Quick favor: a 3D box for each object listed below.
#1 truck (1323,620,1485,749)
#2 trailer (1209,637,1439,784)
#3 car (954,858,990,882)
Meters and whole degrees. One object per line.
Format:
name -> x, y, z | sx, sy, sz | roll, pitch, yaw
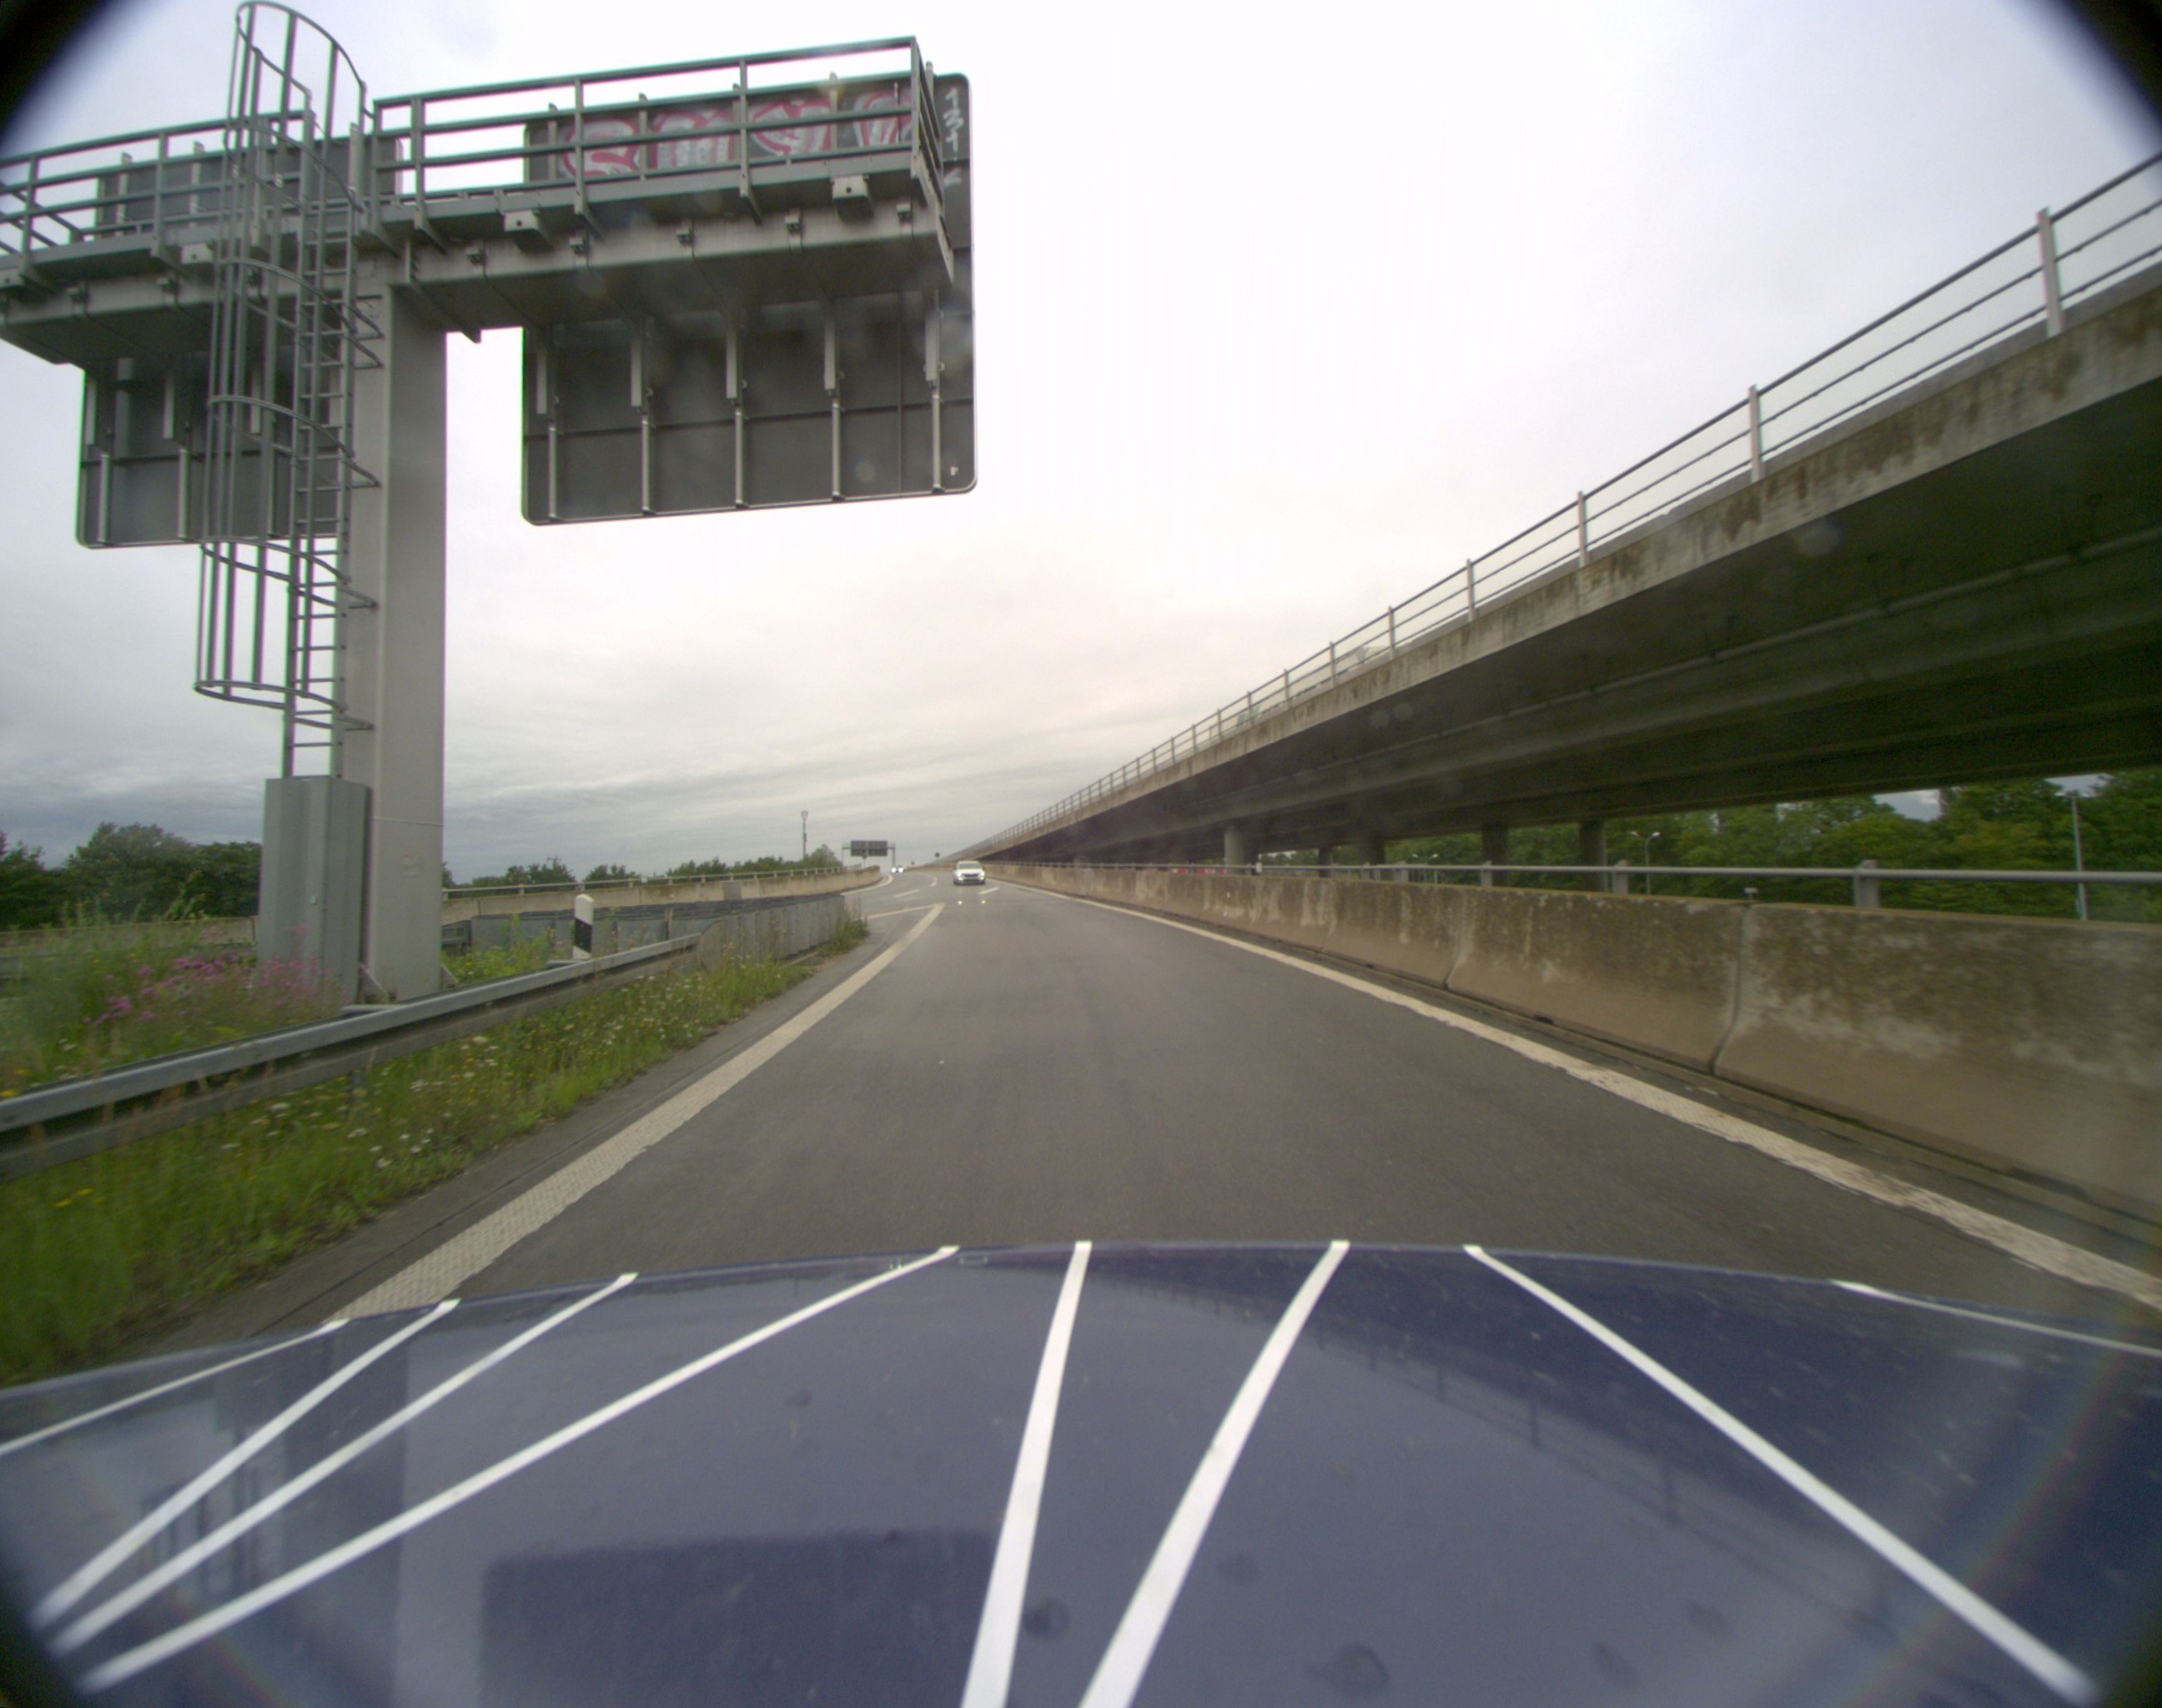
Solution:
truck -> 11.370, -5.859, 27.324 | 2.598, 3.225, 5.190 | -2, -2, -14
trailer -> 9.782, -5.691, 33.692 | 2.667, 3.277, 14.049 | -2, -2, -14
car -> -6.881, 0.979, 47.611 | 1.917, 1.439, 4.552 | 0, -1, -12
